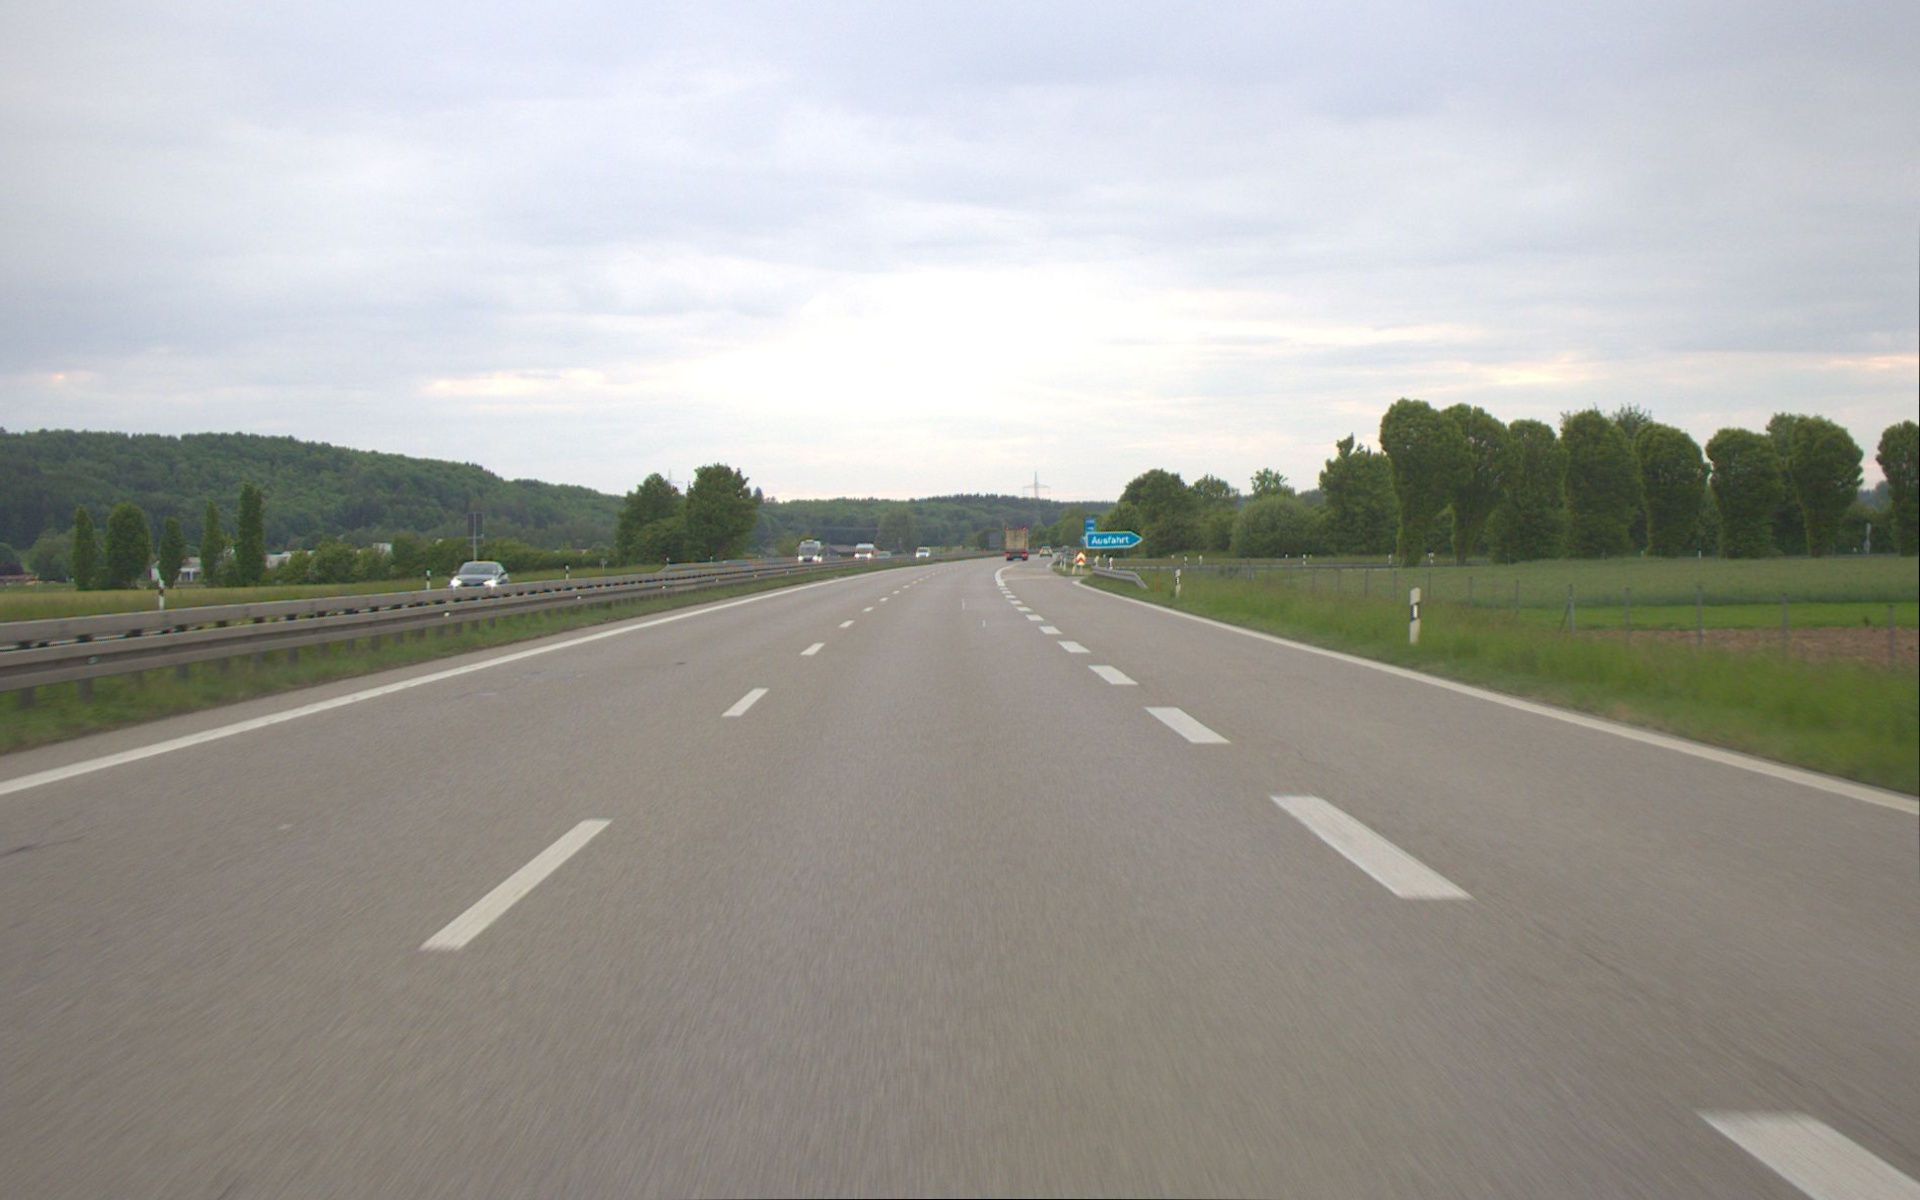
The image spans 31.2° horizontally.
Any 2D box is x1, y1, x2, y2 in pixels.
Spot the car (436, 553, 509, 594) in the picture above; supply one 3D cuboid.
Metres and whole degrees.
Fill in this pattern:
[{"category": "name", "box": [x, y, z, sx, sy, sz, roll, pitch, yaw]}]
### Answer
[{"category": "car", "box": [-17.676, -0.977, 124.812, 1.993, 1.411, 4.524, 1, 1, 0]}]
